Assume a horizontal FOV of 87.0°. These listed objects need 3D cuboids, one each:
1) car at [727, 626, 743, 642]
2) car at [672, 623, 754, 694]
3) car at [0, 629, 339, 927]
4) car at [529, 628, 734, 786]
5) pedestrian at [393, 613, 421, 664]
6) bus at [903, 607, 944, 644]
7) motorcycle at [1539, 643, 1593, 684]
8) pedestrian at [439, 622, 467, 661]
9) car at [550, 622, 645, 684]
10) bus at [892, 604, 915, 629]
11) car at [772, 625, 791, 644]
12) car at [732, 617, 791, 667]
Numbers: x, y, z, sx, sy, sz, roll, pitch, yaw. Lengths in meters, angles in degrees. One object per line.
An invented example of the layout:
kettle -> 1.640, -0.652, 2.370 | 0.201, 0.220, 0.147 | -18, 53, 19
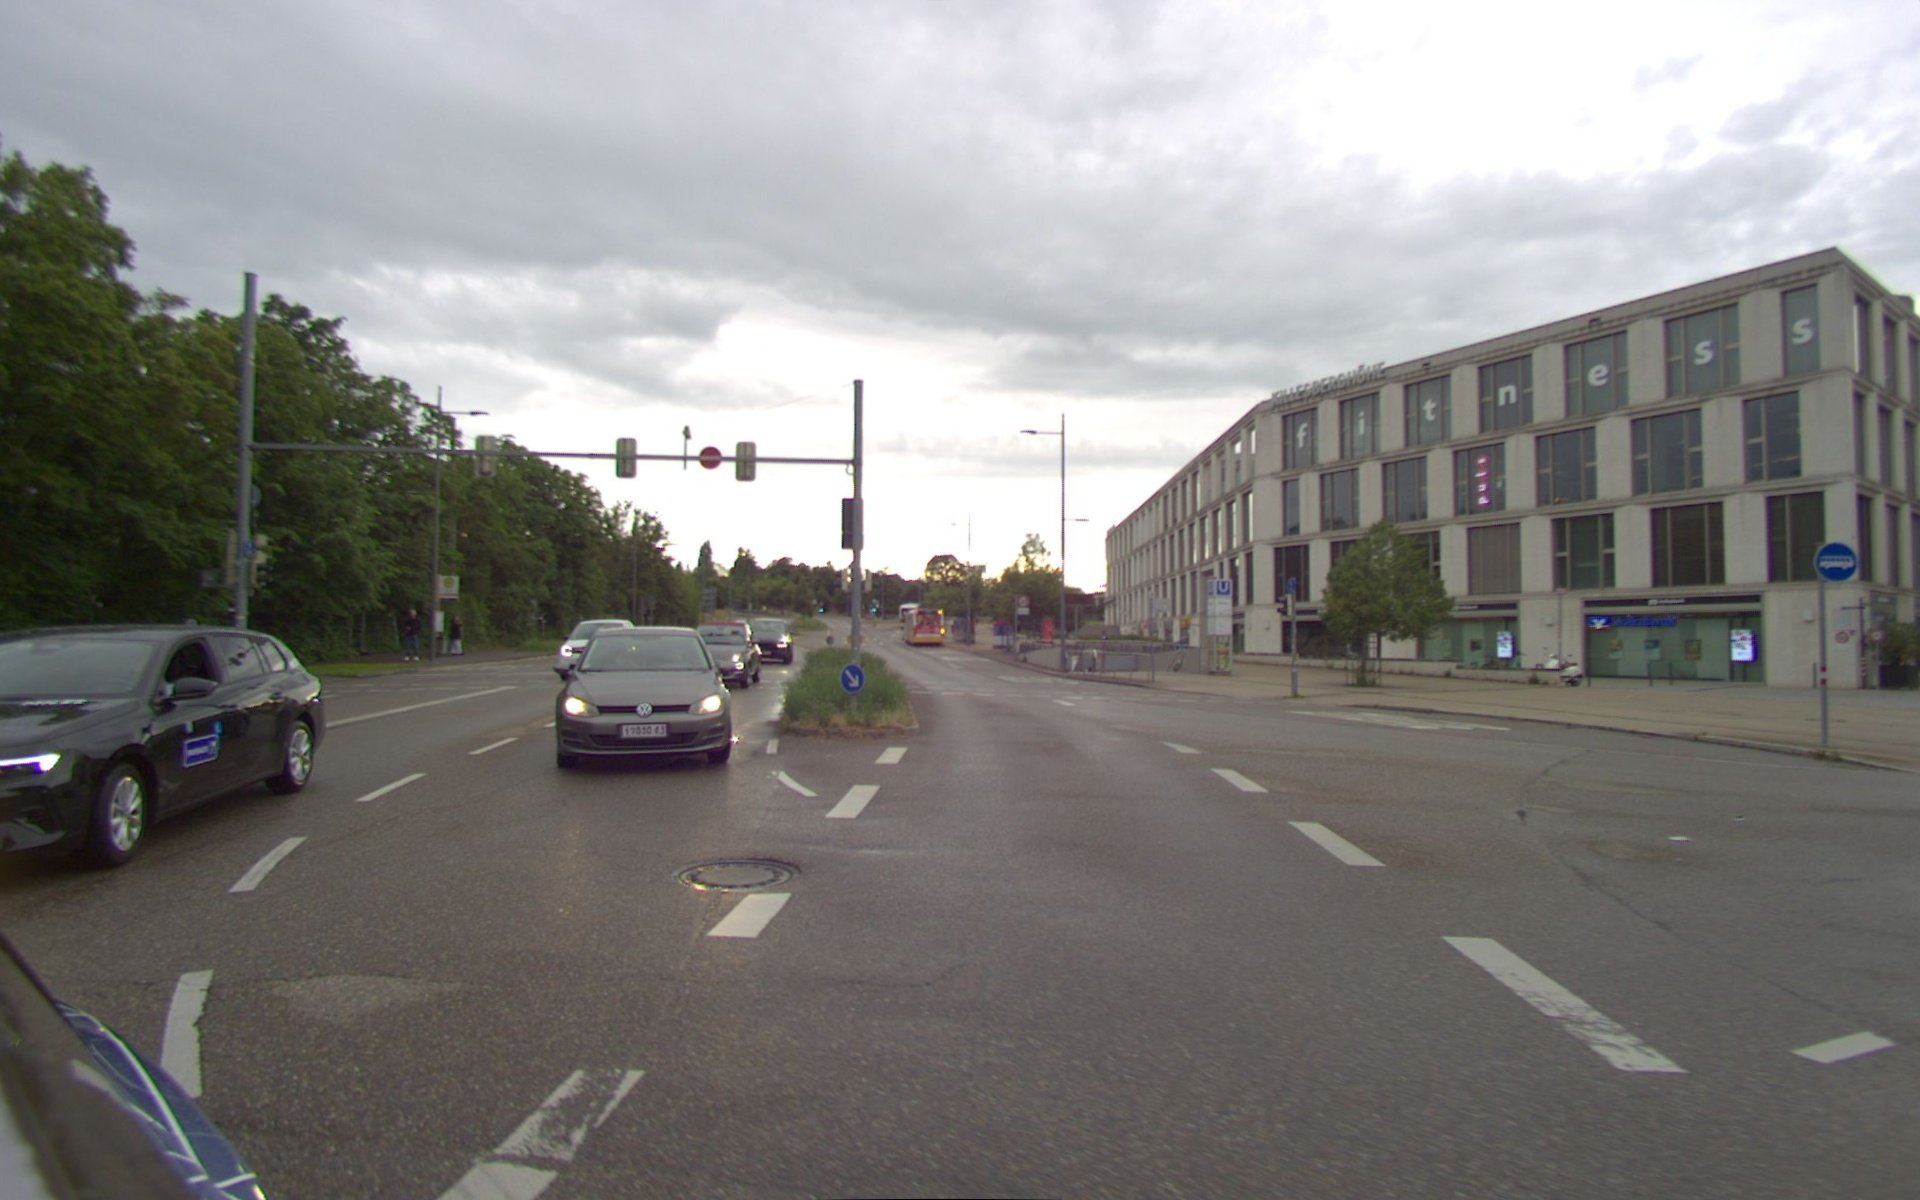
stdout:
car -> -28.131, 4.276, 126.632 | 1.967, 2.029, 4.009 | 1, -2, -12
car -> -5.810, 1.337, 24.172 | 1.644, 1.541, 3.664 | 1, -2, -10
car -> -6.177, 0.962, 7.101 | 1.775, 1.441, 4.531 | -1, -1, -13
car -> -3.639, 1.062, 11.671 | 1.874, 1.450, 4.011 | 0, -1, -15
pedestrian -> -20.798, 1.461, 38.088 | 0.667, 1.898, 0.700 | 1, -2, -6
bus -> -3.256, 2.164, 87.069 | 2.837, 3.012, 10.019 | 1, -1, -6
motorcycle -> 21.635, 2.251, 36.138 | 1.726, 1.413, 0.529 | 0, -2, -12
pedestrian -> -21.854, 1.780, 43.633 | 0.810, 1.688, 0.832 | 1, -2, -6
car -> -9.620, 1.383, 27.111 | 1.620, 1.532, 3.584 | 1, -2, -7
bus -> -8.210, 2.439, 145.595 | 2.774, 3.543, 9.155 | 1, -2, -7
car -> -19.312, 3.702, 109.651 | 1.968, 2.029, 4.007 | 0, -2, -9
car -> -7.534, 1.596, 38.714 | 1.877, 1.785, 4.006 | 1, -2, -7
